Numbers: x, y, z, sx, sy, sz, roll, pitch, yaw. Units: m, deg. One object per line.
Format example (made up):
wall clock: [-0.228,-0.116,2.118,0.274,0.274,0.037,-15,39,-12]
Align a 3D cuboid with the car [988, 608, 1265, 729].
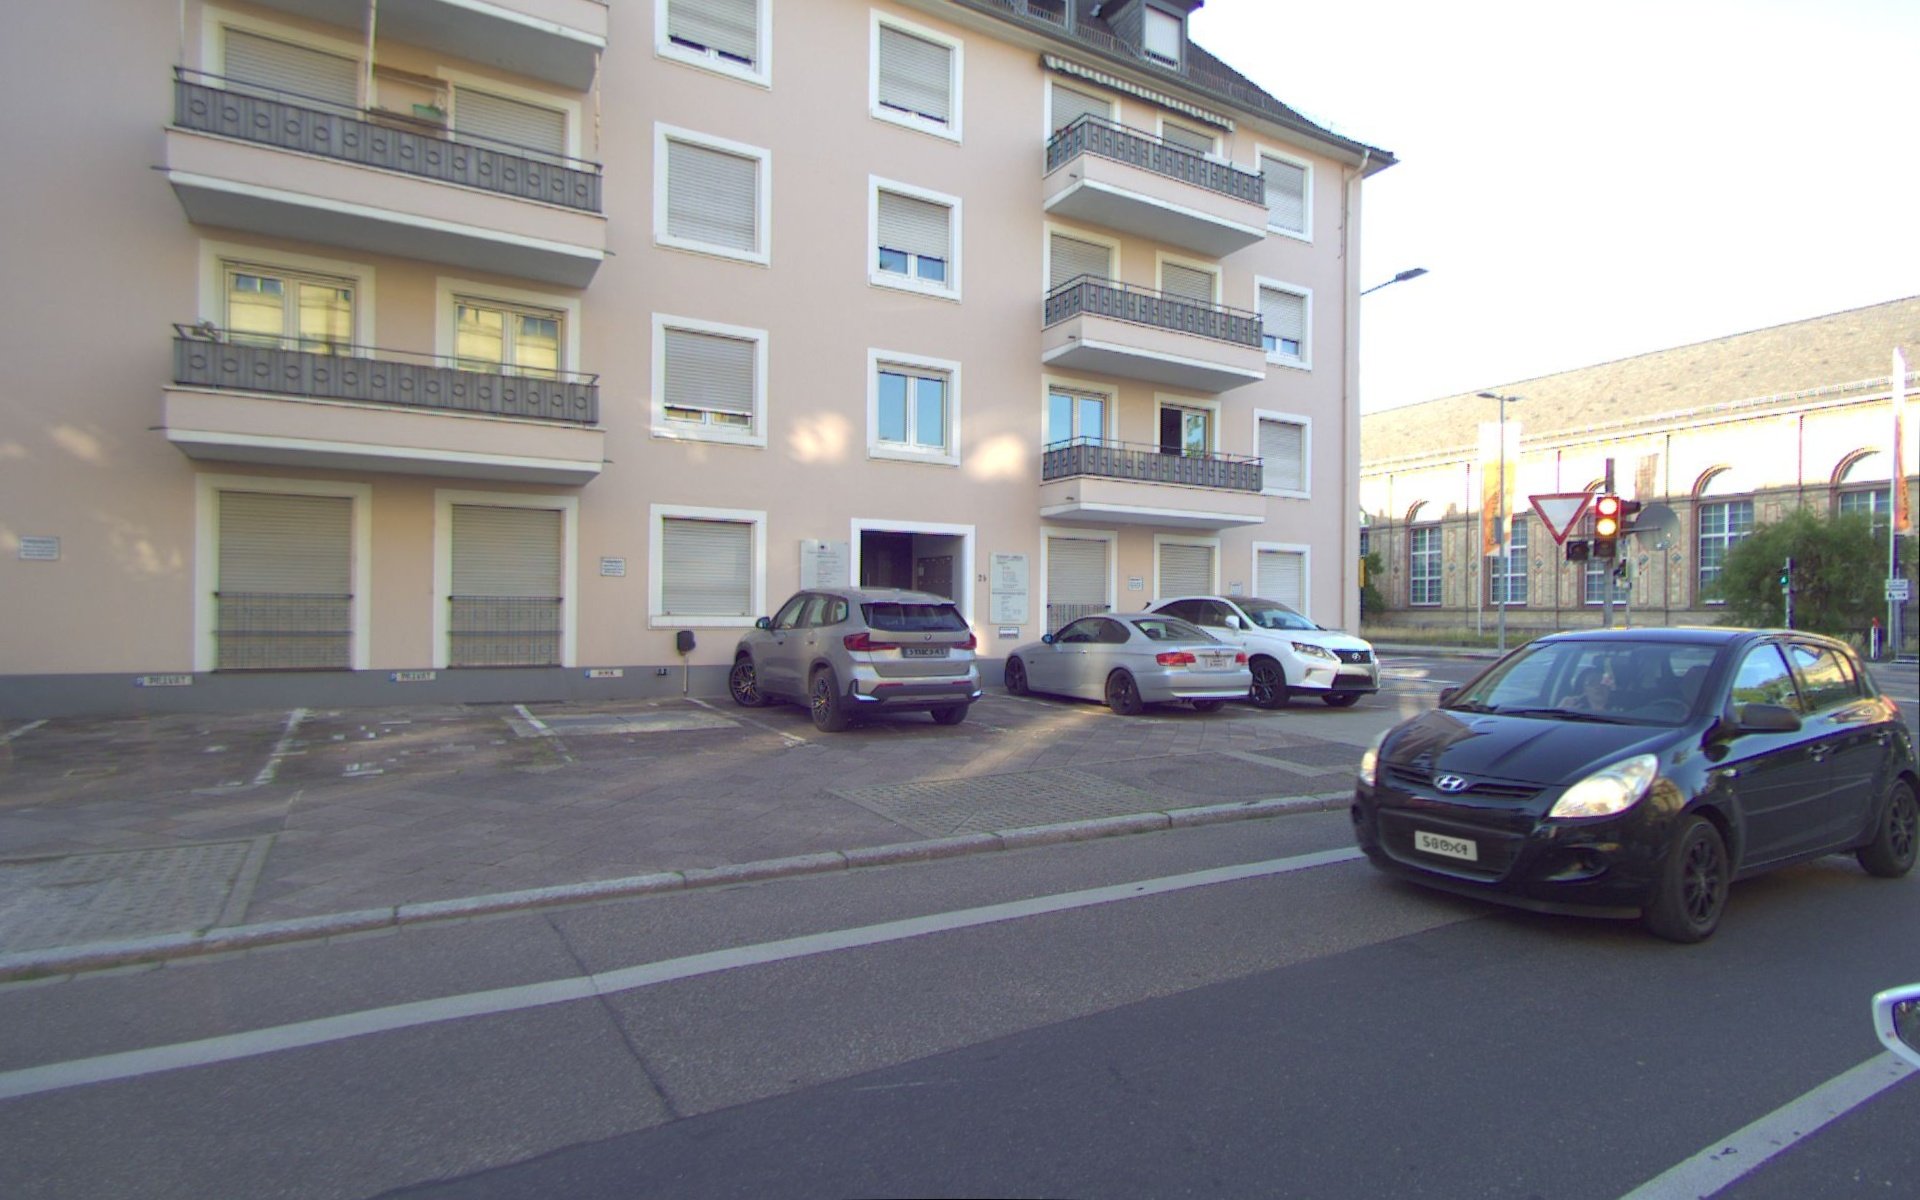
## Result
car: [2.286,0.890,14.941,1.716,1.399,4.244,1,1,-31]

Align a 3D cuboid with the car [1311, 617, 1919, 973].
car: [4.076,0.875,5.997,3.807,1.491,1.650,0,-1,-30]

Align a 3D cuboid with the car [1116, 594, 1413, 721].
car: [4.677,0.786,16.119,1.920,1.663,4.417,1,1,-31]

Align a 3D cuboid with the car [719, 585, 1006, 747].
car: [-1.430,0.660,12.668,1.894,1.627,4.395,1,1,-31]
